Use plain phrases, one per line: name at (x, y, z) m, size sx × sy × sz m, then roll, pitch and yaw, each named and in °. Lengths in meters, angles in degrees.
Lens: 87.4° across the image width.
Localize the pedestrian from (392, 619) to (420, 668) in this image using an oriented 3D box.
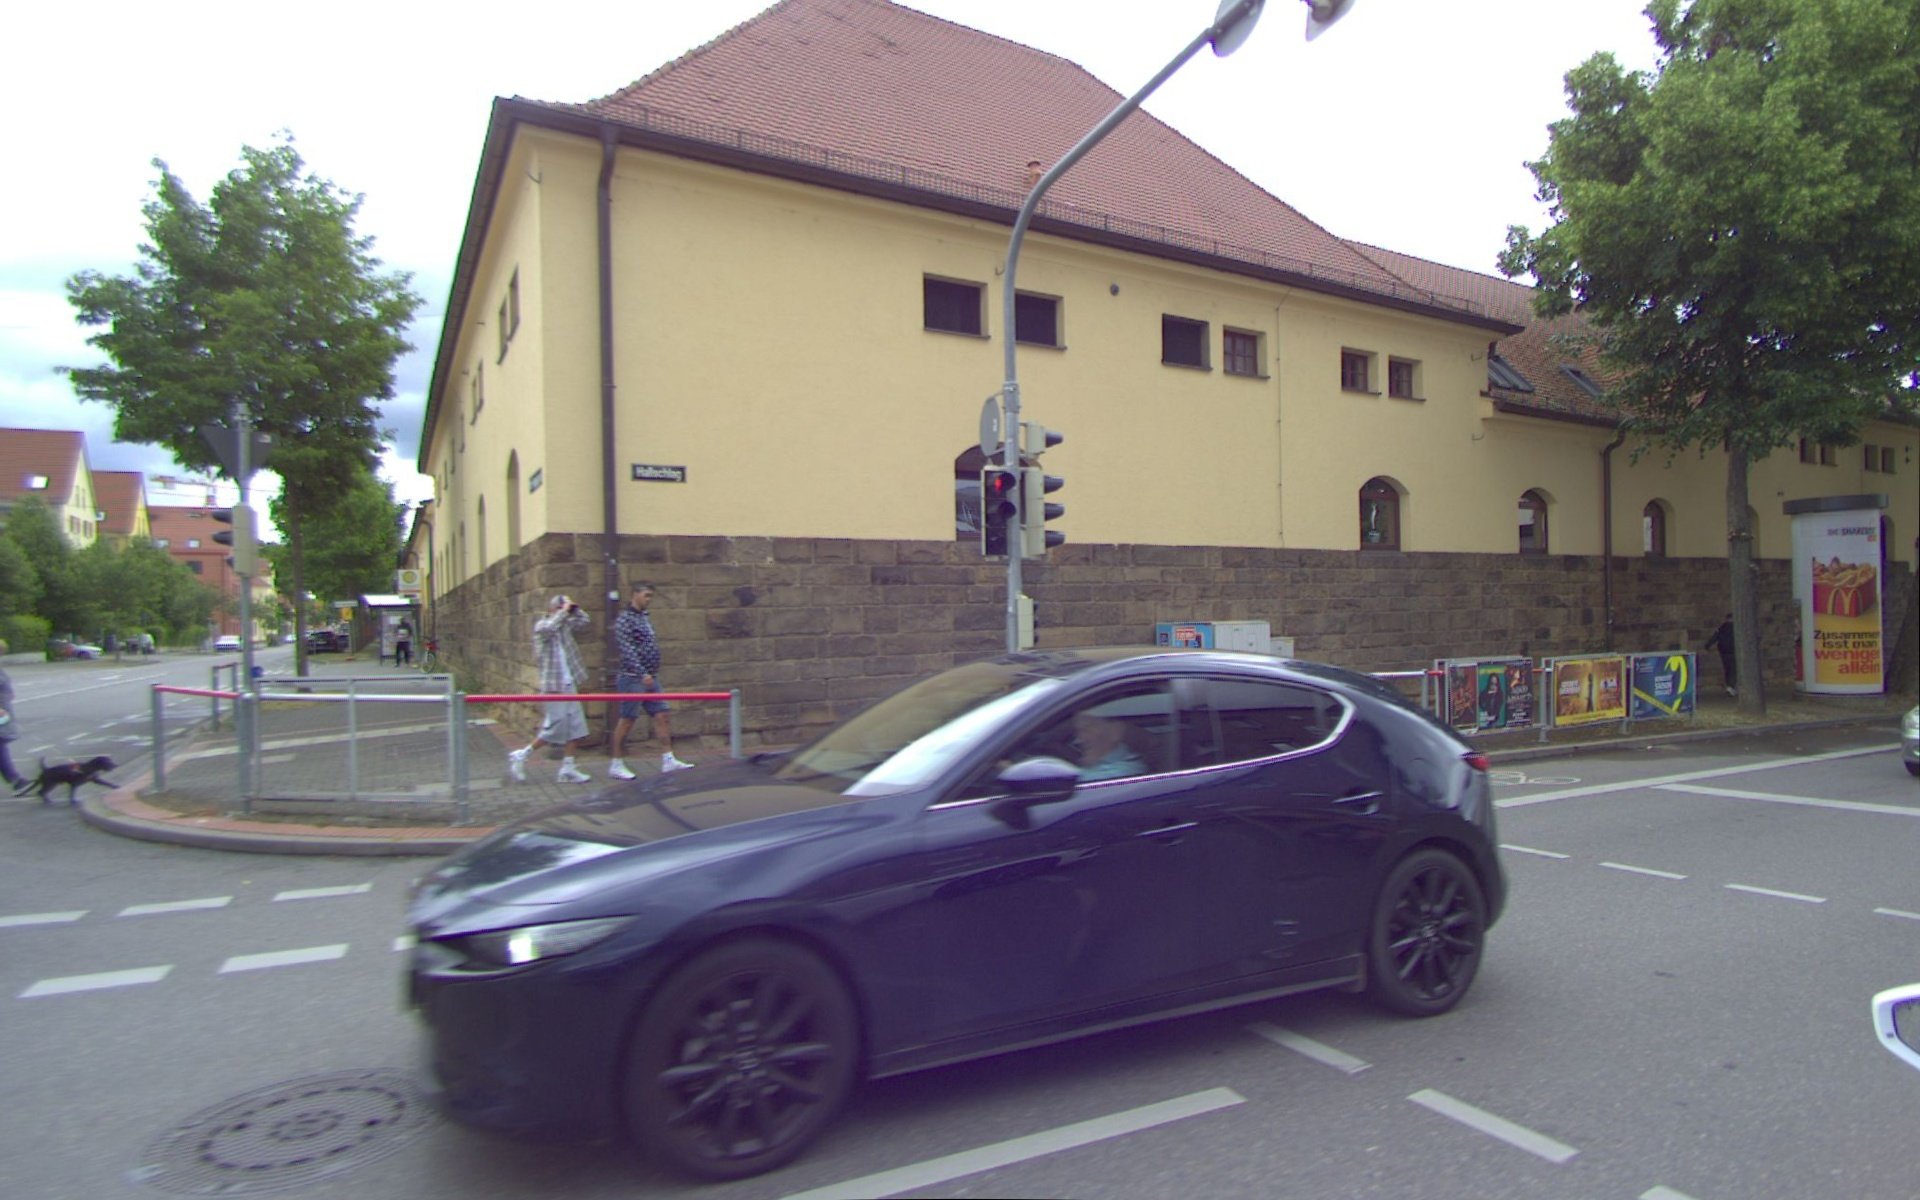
pedestrian at (-20.346, 1.588, 36.893) m, size 0.765 × 1.773 × 0.647 m, roll 1°, pitch -1°, yaw -18°

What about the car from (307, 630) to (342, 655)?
car at (-41.938, 2.786, 66.281) m, size 1.829 × 1.559 × 3.962 m, roll 1°, pitch -1°, yaw -34°

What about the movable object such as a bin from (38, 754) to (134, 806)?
movable object such as a bin at (-8.181, 1.681, 9.415) m, size 0.572 × 0.352 × 0.306 m, roll -5°, pitch 1°, yaw -19°

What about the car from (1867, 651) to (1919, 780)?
car at (11.659, 1.195, 10.722) m, size 4.045 × 1.292 × 1.679 m, roll 2°, pitch -4°, yaw -29°

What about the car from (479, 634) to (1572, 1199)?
car at (0.344, 0.888, 4.091) m, size 4.137 × 1.432 × 1.698 m, roll 1°, pitch -4°, yaw -27°

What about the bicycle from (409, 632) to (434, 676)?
bicycle at (-16.699, 1.647, 31.108) m, size 0.509 × 1.283 × 2.303 m, roll 1°, pitch -1°, yaw -32°

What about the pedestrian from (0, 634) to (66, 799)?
pedestrian at (-9.528, 1.136, 9.958) m, size 0.831 × 1.587 × 0.562 m, roll 1°, pitch -1°, yaw -25°

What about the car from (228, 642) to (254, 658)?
car at (-70.340, 4.884, 98.204) m, size 1.691 × 1.488 × 3.953 m, roll 2°, pitch -3°, yaw -41°

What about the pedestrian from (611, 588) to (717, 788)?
pedestrian at (-2.805, 0.805, 9.517) m, size 0.832 × 1.800 × 0.561 m, roll 1°, pitch -1°, yaw -31°

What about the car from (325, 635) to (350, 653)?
car at (-58.323, 4.085, 94.079) m, size 1.829 × 1.559 × 3.962 m, roll 1°, pitch -1°, yaw -34°

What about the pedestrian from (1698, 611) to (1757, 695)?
pedestrian at (16.901, 1.150, 22.114) m, size 0.864 × 1.818 × 0.773 m, roll 1°, pitch -1°, yaw -30°

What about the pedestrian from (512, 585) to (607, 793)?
pedestrian at (-3.655, 0.783, 9.162) m, size 0.709 × 1.800 × 0.561 m, roll 1°, pitch -1°, yaw -31°
